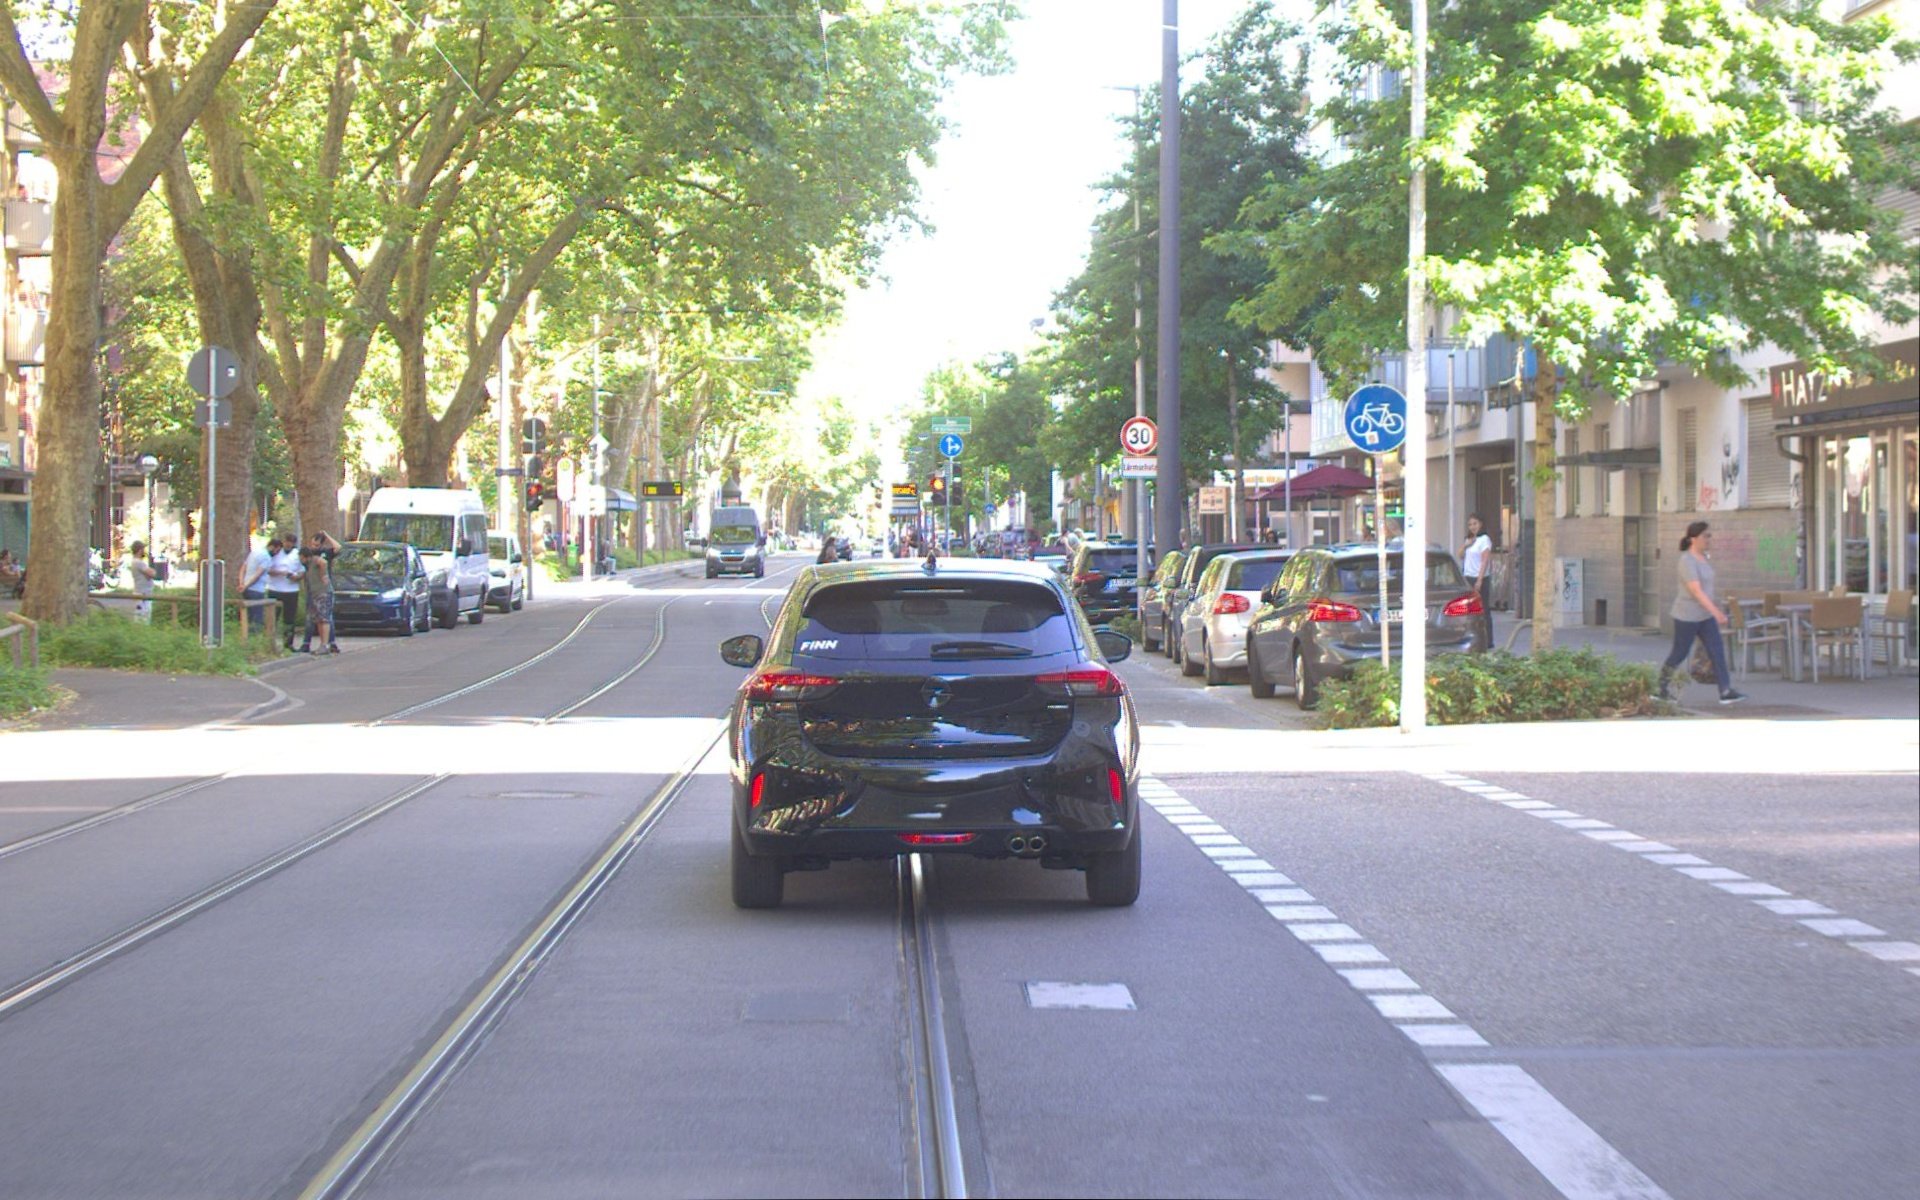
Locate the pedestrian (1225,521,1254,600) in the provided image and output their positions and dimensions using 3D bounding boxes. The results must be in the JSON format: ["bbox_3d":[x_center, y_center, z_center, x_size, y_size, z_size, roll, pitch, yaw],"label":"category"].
[{"bbox_3d":[6.175,-0.872,75.981,0.629,1.727,0.632,0,1,4],"label":"pedestrian"}]

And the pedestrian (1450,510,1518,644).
[{"bbox_3d":[6.834,-0.304,44.866,0.793,1.742,0.770,0,1,1],"label":"pedestrian"}]

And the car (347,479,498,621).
[{"bbox_3d":[-10.215,-0.977,65.763,2.092,2.575,5.997,0,1,-2],"label":"car"}]

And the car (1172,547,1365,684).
[{"bbox_3d":[3.492,0.139,39.506,1.718,1.485,3.682,0,1,-3],"label":"car"}]

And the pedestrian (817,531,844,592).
[{"bbox_3d":[-3.363,-0.999,89.242,0.594,1.584,0.893,0,1,-8],"label":"pedestrian"}]

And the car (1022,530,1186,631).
[{"bbox_3d":[2.392,-0.360,58.128,1.993,1.634,4.001,0,1,-9],"label":"car"}]

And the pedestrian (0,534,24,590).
[{"bbox_3d":[-22.353,-0.897,80.934,0.506,1.328,0.527,0,1,-4],"label":"pedestrian"}]

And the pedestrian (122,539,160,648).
[{"bbox_3d":[-11.947,-0.104,50.164,0.506,1.577,0.527,0,1,-11],"label":"pedestrian"}]

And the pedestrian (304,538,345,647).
[{"bbox_3d":[-9.244,-0.110,50.035,0.506,1.577,0.527,0,1,-2],"label":"pedestrian"}]

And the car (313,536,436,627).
[{"bbox_3d":[-10.097,-0.341,59.487,1.754,1.503,4.001,0,1,-5],"label":"car"}]

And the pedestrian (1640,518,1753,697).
[{"bbox_3d":[6.755,0.057,31.512,0.856,1.611,0.769,0,1,26],"label":"pedestrian"}]

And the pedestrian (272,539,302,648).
[{"bbox_3d":[-9.783,-0.105,49.992,0.346,1.577,0.508,0,1,-3],"label":"pedestrian"}]

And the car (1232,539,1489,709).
[{"bbox_3d":[3.878,0.183,33.920,1.718,1.568,4.085,0,1,-5],"label":"car"}]

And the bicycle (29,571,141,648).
[{"bbox_3d":[-12.687,0.128,49.830,1.693,1.058,0.452,2,0,29],"label":"bicycle"}]

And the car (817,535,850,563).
[{"bbox_3d":[-7.416,-3.004,202.124,1.750,1.646,4.000,0,1,0],"label":"car"}]

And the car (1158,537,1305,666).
[{"bbox_3d":[3.421,-0.009,43.705,1.651,1.568,3.083,0,1,1],"label":"car"}]

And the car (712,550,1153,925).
[{"bbox_3d":[-0.158,0.510,15.179,1.679,1.417,3.628,1,1,-2],"label":"car"}]

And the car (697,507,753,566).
[{"bbox_3d":[-8.958,-2.427,130.893,1.993,2.204,5.103,0,1,-5],"label":"car"}]

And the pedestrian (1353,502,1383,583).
[{"bbox_3d":[8.815,-1.244,74.250,0.629,1.727,0.632,0,1,5],"label":"pedestrian"}]

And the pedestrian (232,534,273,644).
[{"bbox_3d":[-10.230,-0.160,49.731,0.506,1.577,0.527,0,1,-5],"label":"pedestrian"}]

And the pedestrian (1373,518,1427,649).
[{"bbox_3d":[5.579,-0.209,43.610,0.600,1.646,0.631,0,1,0],"label":"pedestrian"}]

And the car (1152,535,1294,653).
[{"bbox_3d":[3.617,-0.114,47.732,1.718,1.568,3.682,0,1,1],"label":"car"}]

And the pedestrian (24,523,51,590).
[{"bbox_3d":[-21.588,-1.021,80.423,0.506,1.577,0.527,0,1,-4],"label":"pedestrian"}]

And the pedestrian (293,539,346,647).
[{"bbox_3d":[-9.426,-0.111,50.624,0.683,1.577,0.557,0,1,-3],"label":"pedestrian"}]

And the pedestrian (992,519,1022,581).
[{"bbox_3d":[1.560,-1.653,113.952,0.856,2.007,1.069,-5,0,1],"label":"pedestrian"}]

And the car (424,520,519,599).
[{"bbox_3d":[-10.809,-0.916,76.290,1.993,1.711,4.001,0,1,-7],"label":"car"}]
